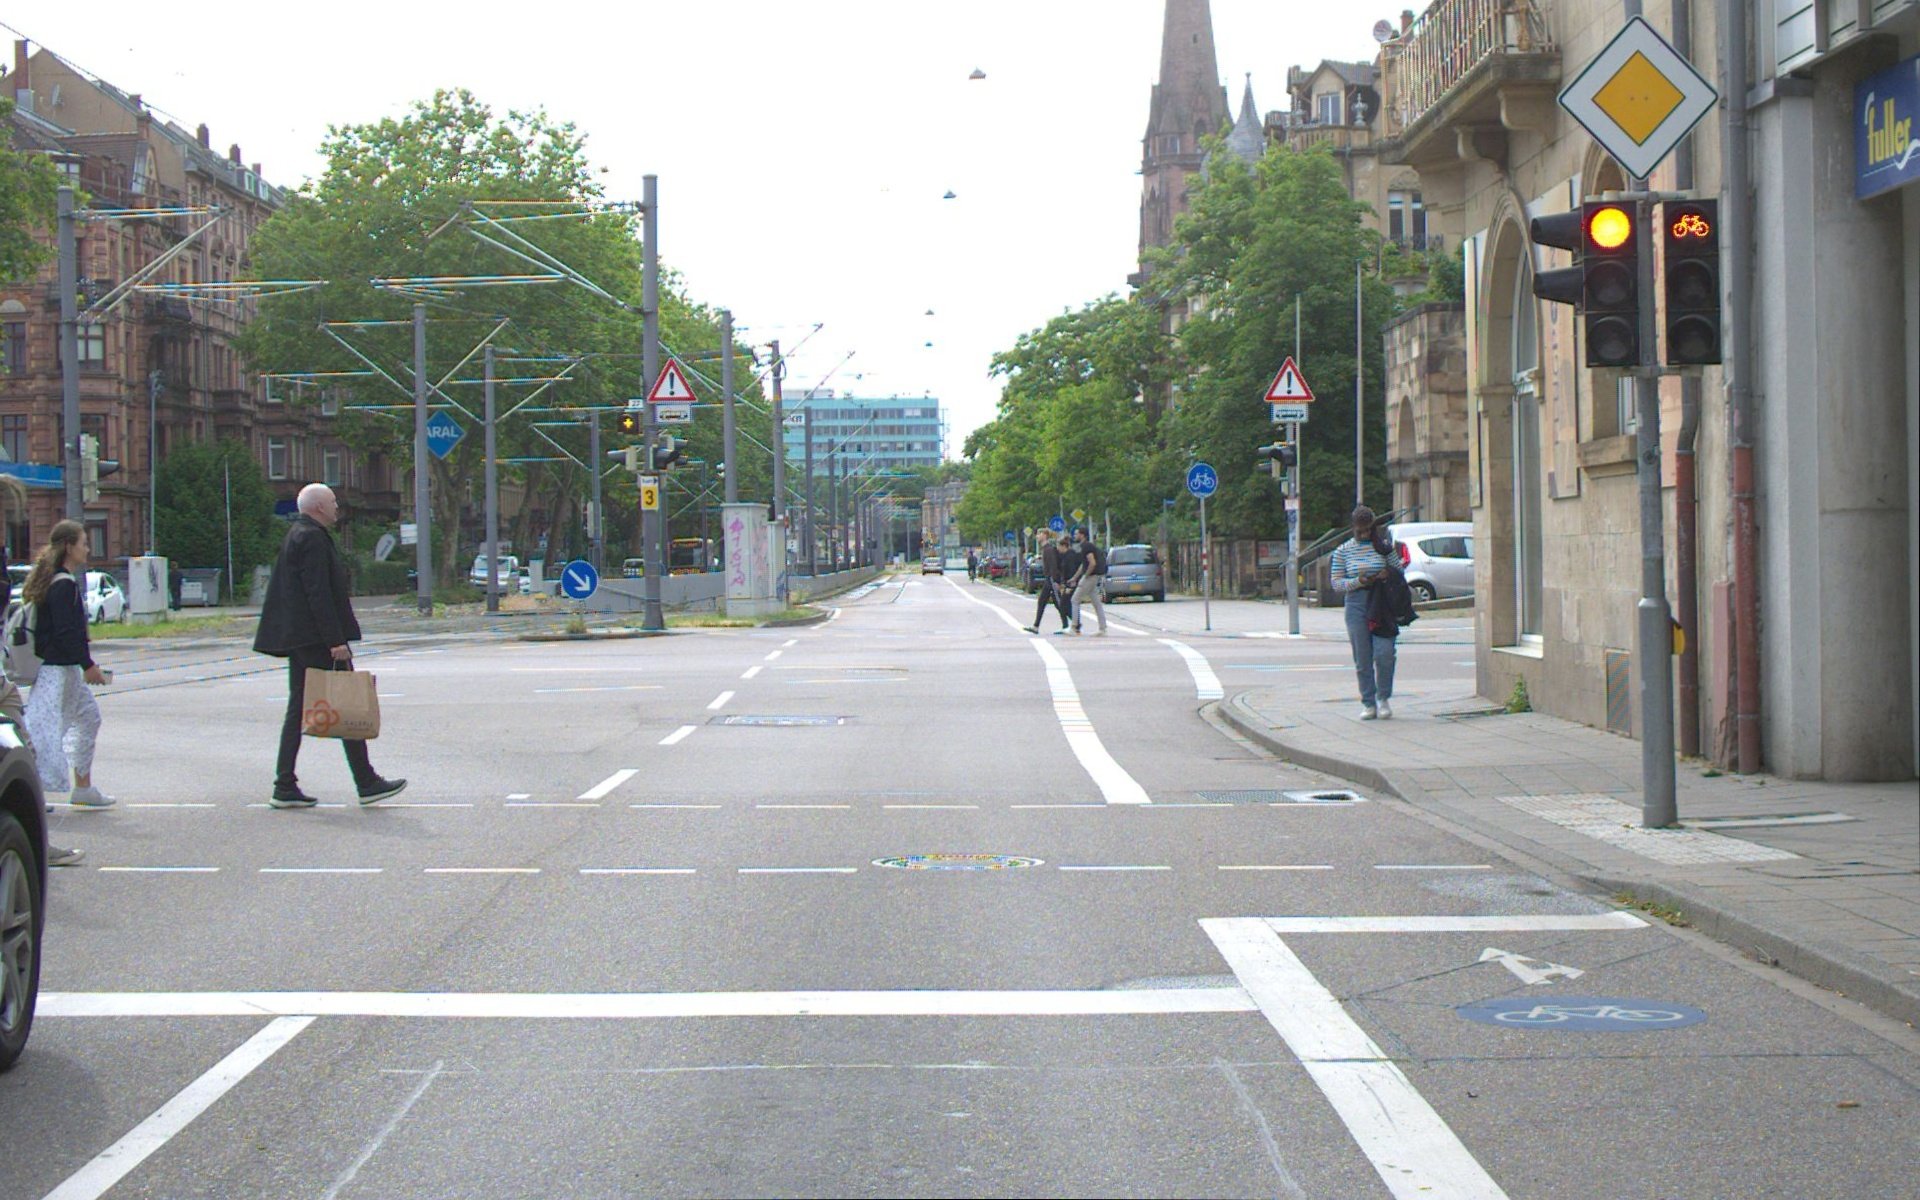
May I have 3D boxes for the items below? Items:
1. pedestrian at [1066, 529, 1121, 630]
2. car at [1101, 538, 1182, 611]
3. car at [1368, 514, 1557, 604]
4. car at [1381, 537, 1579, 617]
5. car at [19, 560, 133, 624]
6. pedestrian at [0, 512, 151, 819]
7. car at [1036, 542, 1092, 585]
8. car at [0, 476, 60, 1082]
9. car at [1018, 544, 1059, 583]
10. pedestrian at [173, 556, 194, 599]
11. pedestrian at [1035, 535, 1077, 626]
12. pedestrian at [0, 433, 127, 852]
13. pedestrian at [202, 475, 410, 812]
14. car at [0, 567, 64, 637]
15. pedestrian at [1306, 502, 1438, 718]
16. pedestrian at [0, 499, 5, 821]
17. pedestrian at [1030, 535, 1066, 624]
[{"bbox_3d":[2.214,-0.342,57.141,0.850,1.648,0.508,1,0,-2],"label":"pedestrian"},{"bbox_3d":[5.104,-0.725,97.005,1.993,2.007,4.000,1,1,-1],"label":"car"},{"bbox_3d":[10.951,-0.894,75.069,3.799,1.897,2.000,1,1,0],"label":"car"},{"bbox_3d":[10.819,-0.486,71.661,3.799,1.595,2.000,1,1,0],"label":"car"},{"bbox_3d":[-22.079,-0.214,85.970,1.894,1.552,3.836,1,1,-1],"label":"car"},{"bbox_3d":[-4.873,0.334,18.318,0.702,1.587,0.829,1,1,37],"label":"pedestrian"},{"bbox_3d":[4.073,-1.450,135.043,1.993,1.602,4.164,-2,1,-1],"label":"car"},{"bbox_3d":[-3.435,0.491,7.512,1.880,1.596,4.358,0,1,-1],"label":"car"},{"bbox_3d":[4.093,-1.920,179.259,1.993,2.007,4.000,1,1,-1],"label":"car"},{"bbox_3d":[-26.434,-0.763,117.014,0.452,1.455,0.525,1,1,26],"label":"pedestrian"},{"bbox_3d":[1.645,-0.337,58.769,0.653,1.531,0.466,1,0,-4],"label":"pedestrian"},{"bbox_3d":[-4.201,0.180,14.821,1.130,1.772,0.628,0,0,-18],"label":"pedestrian"},{"bbox_3d":[-3.548,0.222,18.638,0.917,1.778,0.646,1,1,37],"label":"pedestrian"},{"bbox_3d":[-22.066,0.032,79.140,1.894,1.552,3.836,1,1,-1],"label":"car"},{"bbox_3d":[3.268,0.070,27.262,0.671,1.674,0.866,1,1,38],"label":"pedestrian"},{"bbox_3d":[-5.409,0.305,17.298,0.627,1.647,0.995,1,1,30],"label":"pedestrian"},{"bbox_3d":[1.516,-0.357,59.323,0.545,1.531,0.466,1,0,-4],"label":"pedestrian"}]
